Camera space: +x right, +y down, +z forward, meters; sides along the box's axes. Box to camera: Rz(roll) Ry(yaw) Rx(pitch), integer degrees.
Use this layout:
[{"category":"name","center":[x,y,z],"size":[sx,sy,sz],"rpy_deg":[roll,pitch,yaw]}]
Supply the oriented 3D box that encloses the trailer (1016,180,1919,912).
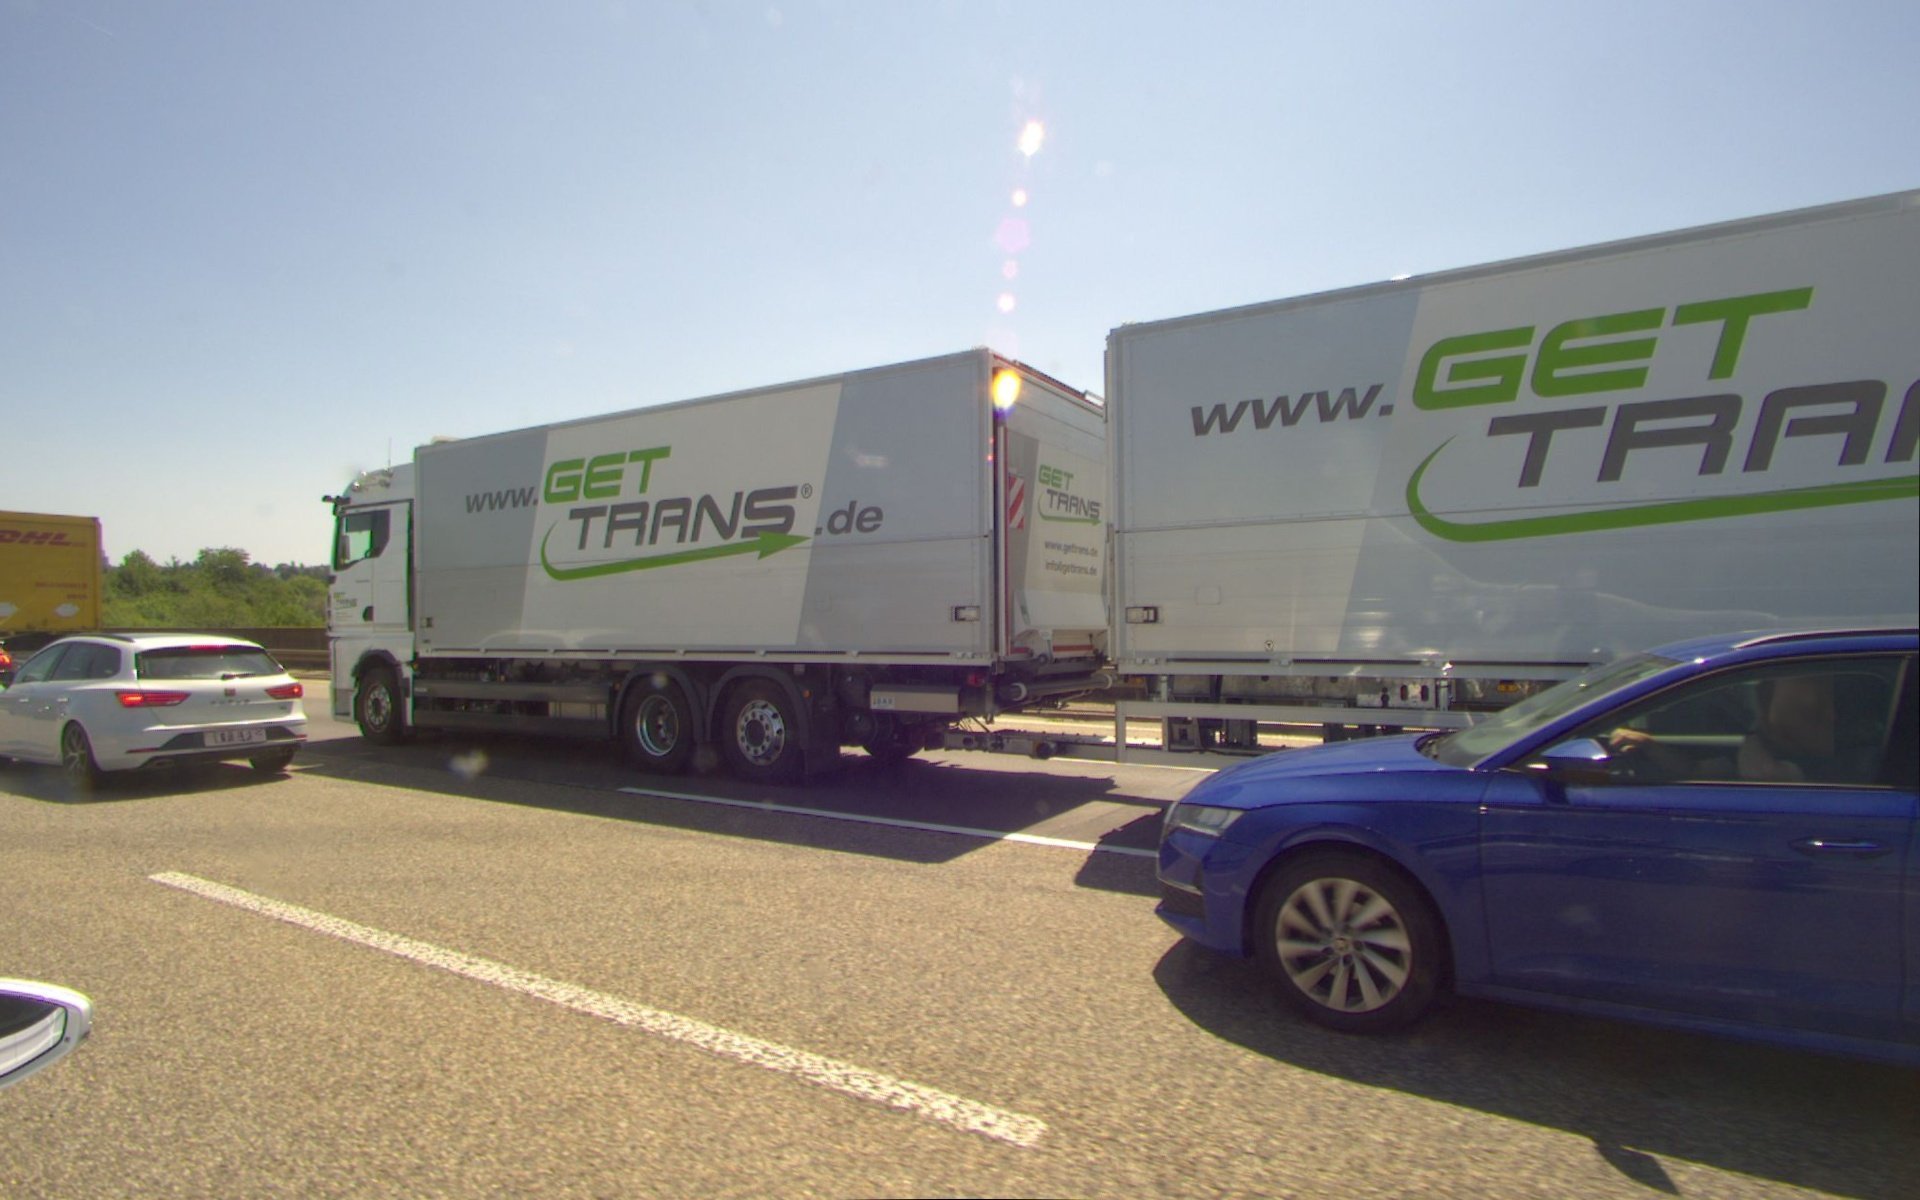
[{"category":"trailer","center":[4.638,-0.223,6.728],"size":[8.170,3.640,2.840],"rpy_deg":[-1,-1,31]}]

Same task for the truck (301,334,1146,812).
[{"category":"truck","center":[-3.385,-0.136,11.634],"size":[10.610,3.649,2.847],"rpy_deg":[0,-1,31]}]

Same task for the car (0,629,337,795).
[{"category":"car","center":[-8.498,1.012,10.409],"size":[4.126,1.405,1.779],"rpy_deg":[-1,-1,31]}]

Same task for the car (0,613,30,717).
[{"category":"car","center":[-16.954,1.025,16.203],"size":[3.942,1.629,1.848],"rpy_deg":[-1,-1,32]}]

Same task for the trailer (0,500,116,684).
[{"category":"trailer","center":[-24.683,-0.051,25.157],"size":[8.802,4.074,2.697],"rpy_deg":[-1,-2,32]}]

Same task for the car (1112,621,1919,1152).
[{"category":"car","center":[2.933,0.807,3.578],"size":[4.435,1.459,1.707],"rpy_deg":[-1,-1,32]}]
